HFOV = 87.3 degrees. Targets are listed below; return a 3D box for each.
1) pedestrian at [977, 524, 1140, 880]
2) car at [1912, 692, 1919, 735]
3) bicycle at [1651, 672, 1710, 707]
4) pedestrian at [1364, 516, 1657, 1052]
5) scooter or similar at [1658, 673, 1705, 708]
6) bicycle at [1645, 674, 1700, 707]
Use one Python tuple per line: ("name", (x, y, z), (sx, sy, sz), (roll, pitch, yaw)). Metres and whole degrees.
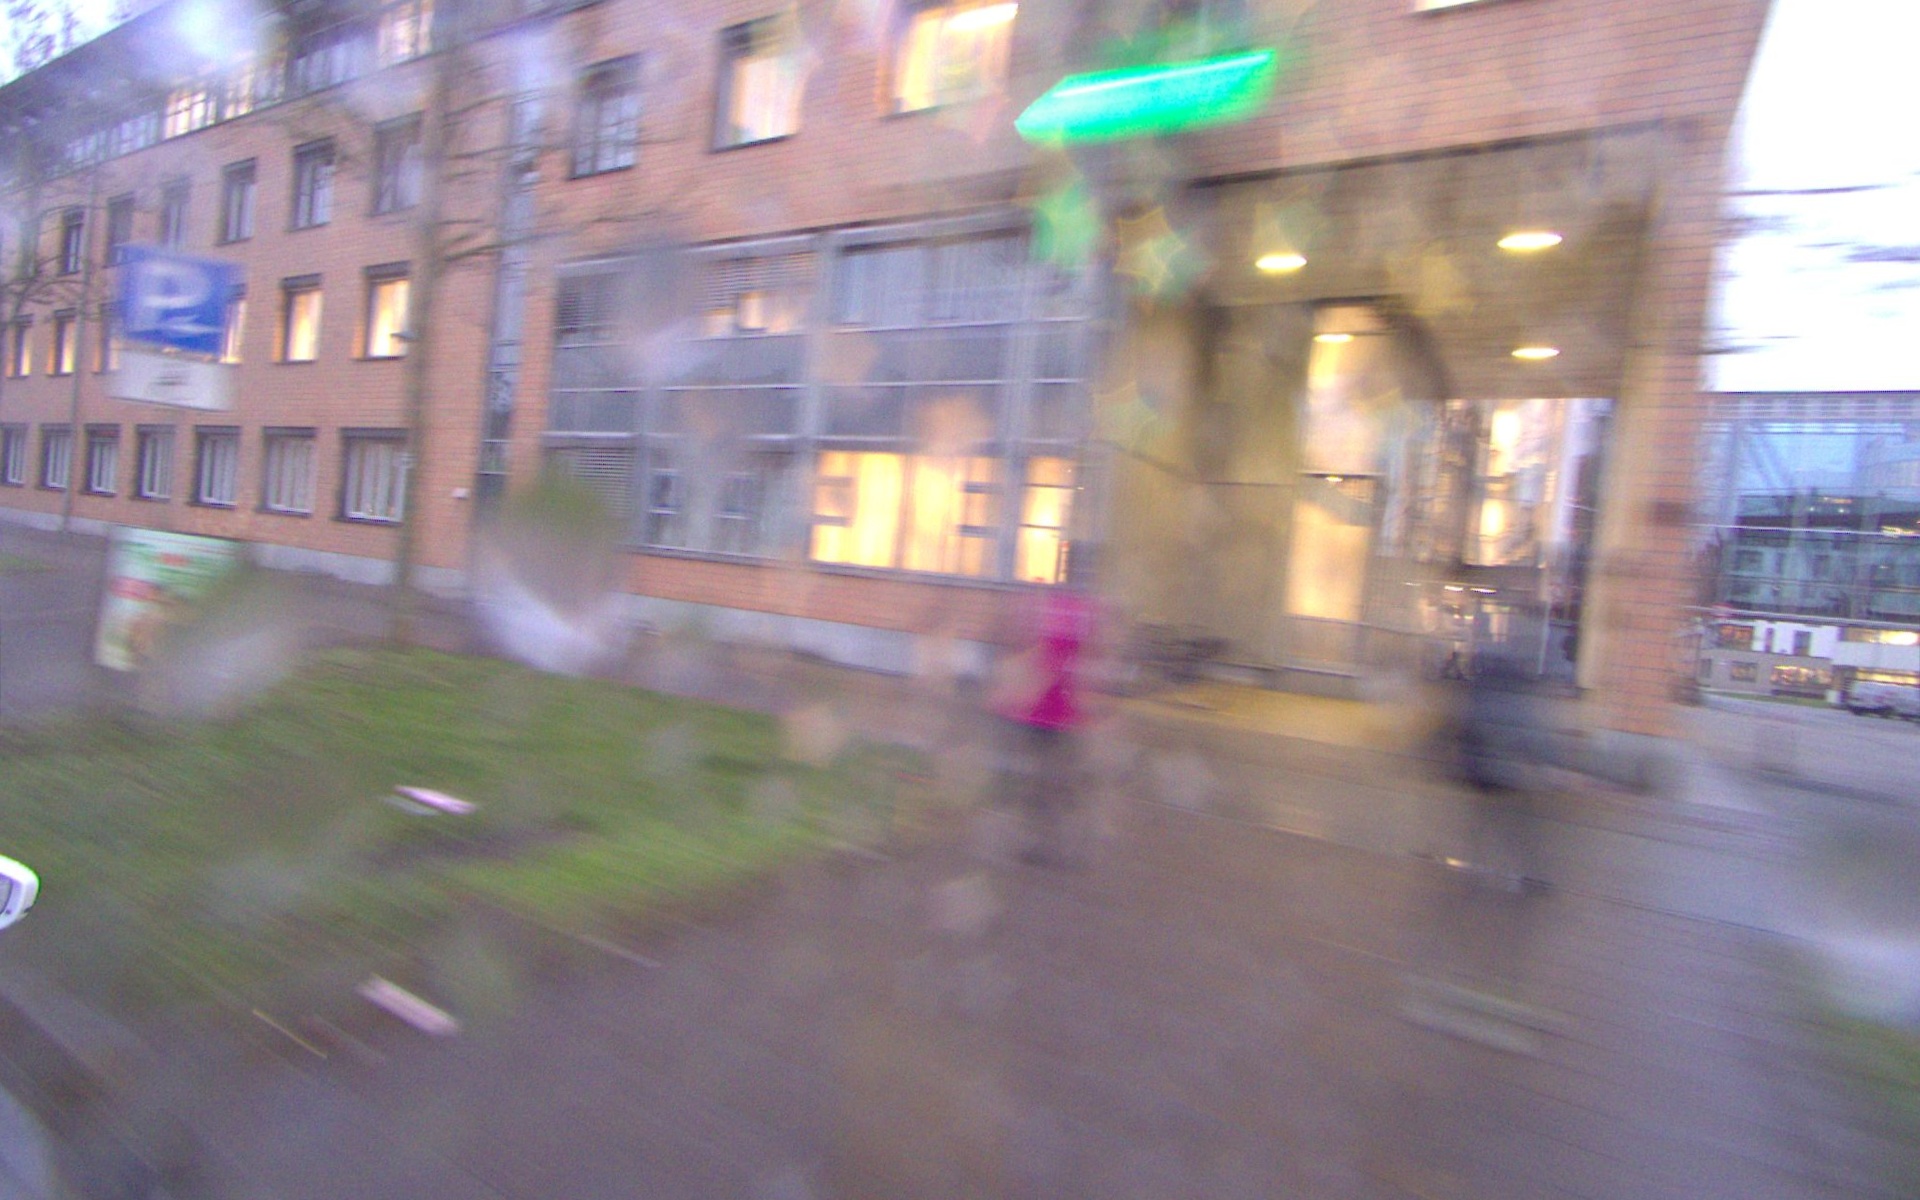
("pedestrian", (0.503, 0.523, 5.381), (0.645, 1.765, 0.505), (5, 2, -1))
("car", (34.278, 4.035, 33.157), (3.943, 1.416, 1.990), (6, 1, 40))
("bicycle", (27.223, 3.385, 38.038), (1.674, 1.088, 0.492), (6, -1, 30))
("pedestrian", (2.045, 0.653, 3.819), (0.645, 1.848, 0.505), (6, 2, 6))
("scooter or similar", (25.382, 3.172, 35.420), (1.196, 1.088, 0.393), (6, -1, 26))
("bicycle", (28.412, 3.606, 40.141), (1.674, 1.088, 0.492), (6, -1, 30))
